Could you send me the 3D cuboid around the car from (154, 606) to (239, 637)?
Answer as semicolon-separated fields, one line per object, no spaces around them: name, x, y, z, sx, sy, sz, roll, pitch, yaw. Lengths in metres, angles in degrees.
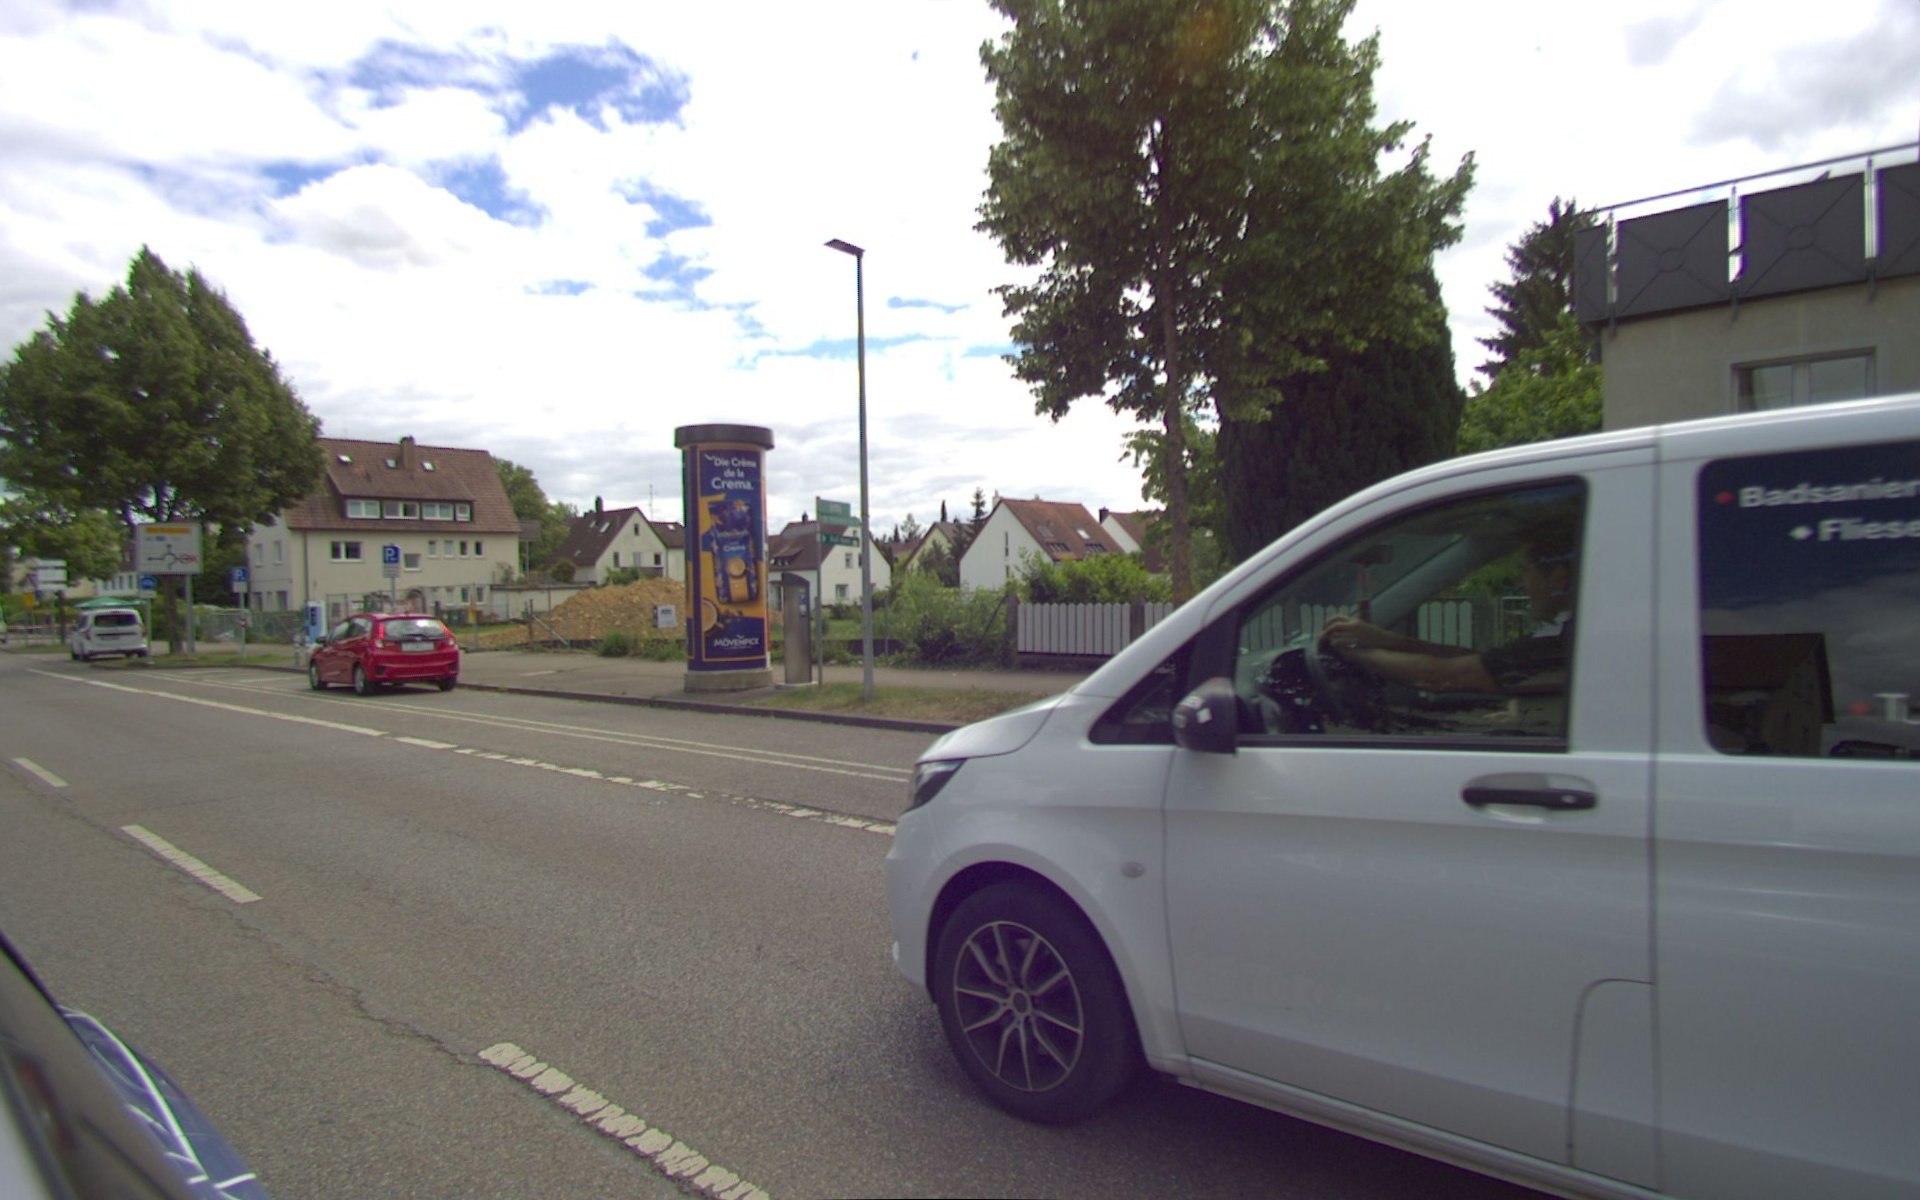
car;-47.408;1.326;62.903;1.854;1.674;3.879;0;3;40

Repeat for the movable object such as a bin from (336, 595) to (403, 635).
movable object such as a bin;-34.141;0.848;58.484;4.357;2.204;1.878;-1;0;38

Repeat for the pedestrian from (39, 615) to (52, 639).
pedestrian;-72.956;2.156;80.761;0.627;1.840;0.568;-3;1;-36

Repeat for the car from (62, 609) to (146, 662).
car;-31.345;1.265;37.009;4.550;1.784;1.752;-2;0;42

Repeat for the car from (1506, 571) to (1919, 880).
car;5.434;0.590;5.254;4.299;1.480;1.713;-2;-1;41

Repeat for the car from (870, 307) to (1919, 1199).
car;2.198;0.447;2.297;4.815;1.844;1.946;-1;0;40

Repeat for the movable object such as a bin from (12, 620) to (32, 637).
movable object such as a bin;-83.536;2.538;90.122;2.721;1.427;0.971;-2;0;41

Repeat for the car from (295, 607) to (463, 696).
car;-11.524;0.960;19.955;4.131;1.552;1.667;-2;-1;42
